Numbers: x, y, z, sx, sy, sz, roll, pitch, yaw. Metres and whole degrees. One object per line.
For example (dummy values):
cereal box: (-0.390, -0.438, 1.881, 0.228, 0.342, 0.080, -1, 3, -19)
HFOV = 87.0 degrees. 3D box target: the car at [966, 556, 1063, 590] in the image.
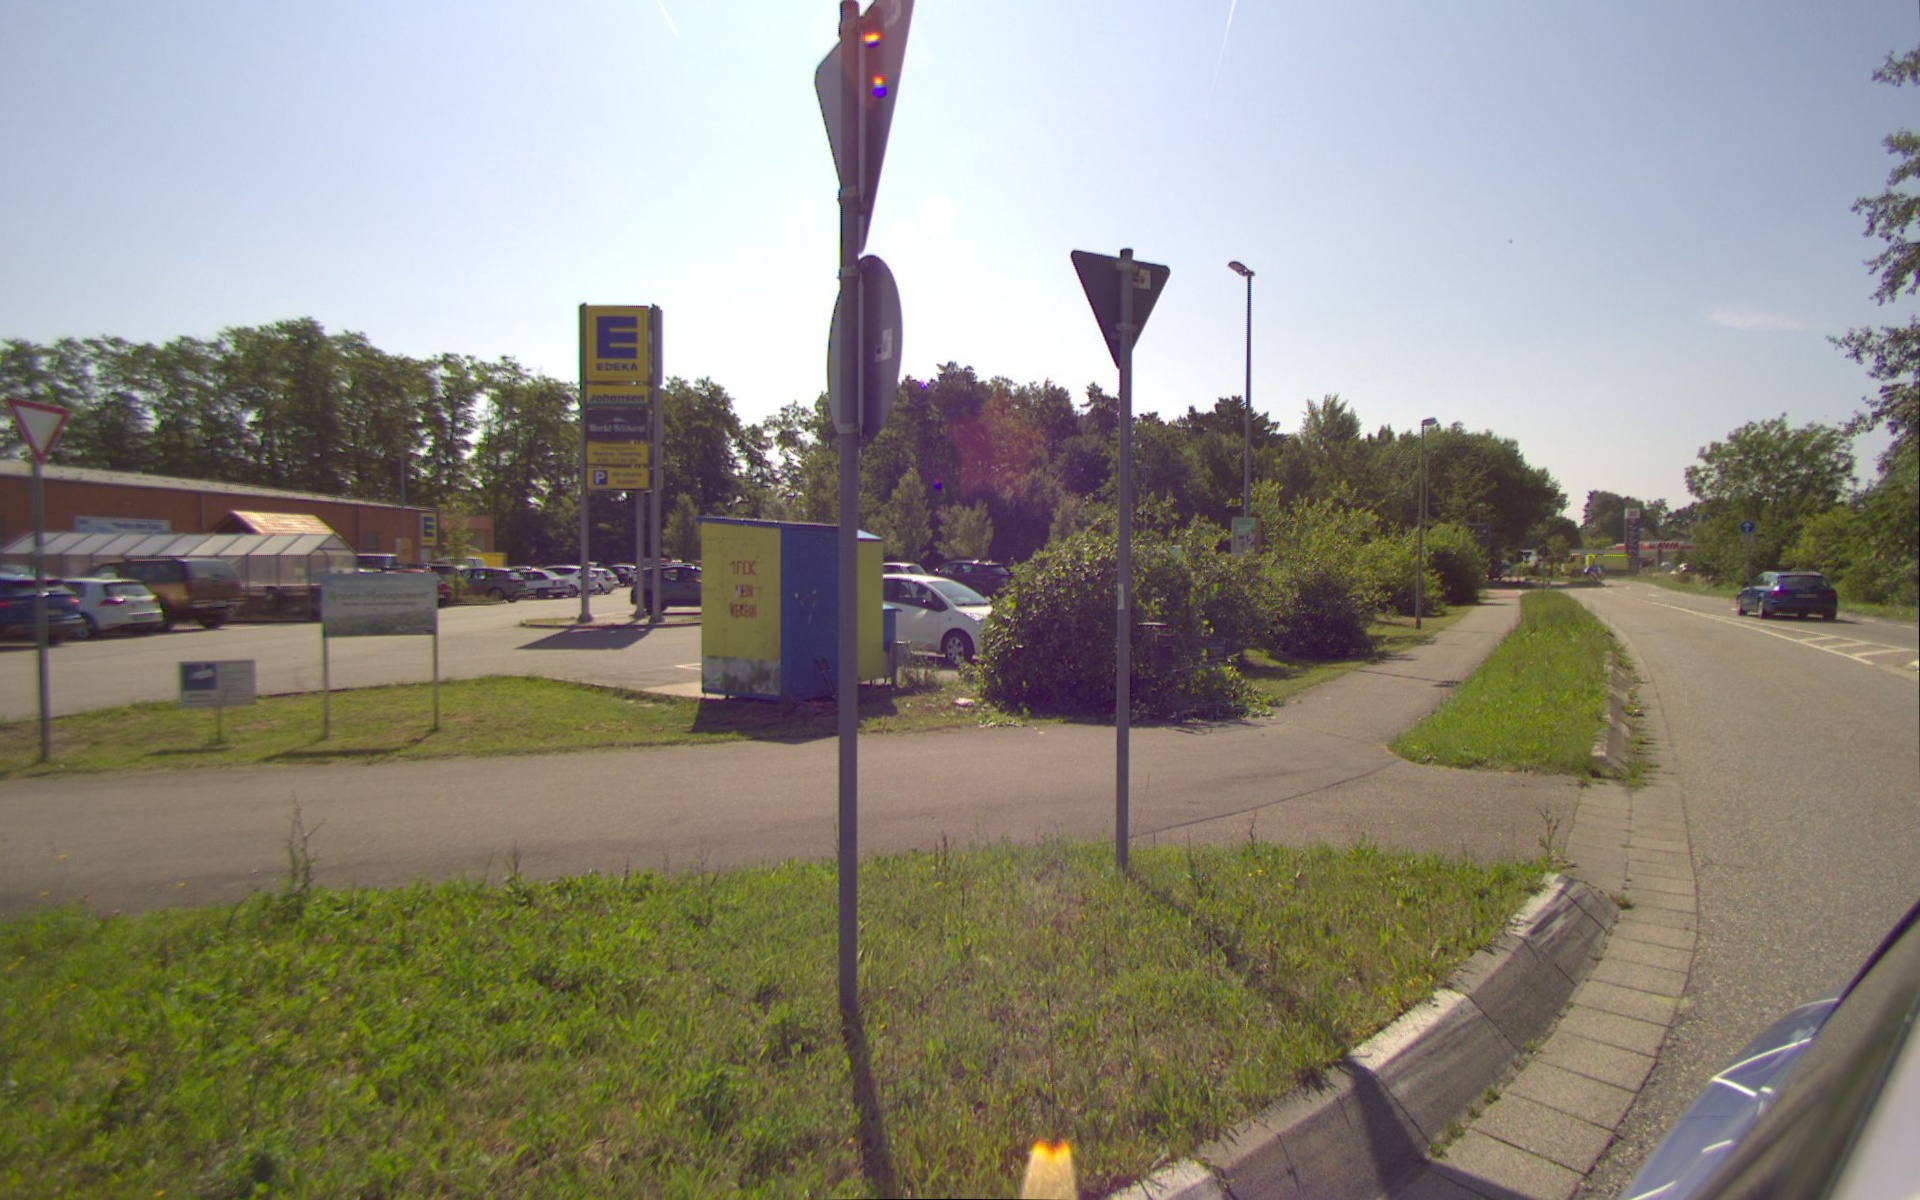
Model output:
car: (2.411, -1.204, 44.884, 3.955, 1.445, 1.736, 1, 2, 24)

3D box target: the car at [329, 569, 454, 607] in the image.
car: (-22.066, -0.484, 39.372, 3.927, 1.415, 1.714, 0, 1, 3)

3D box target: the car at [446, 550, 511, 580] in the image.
car: (-36.055, -2.609, 75.845, 3.955, 2.274, 1.997, 0, 1, 7)

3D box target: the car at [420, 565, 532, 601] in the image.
car: (-20.987, -0.739, 43.983, 3.926, 1.504, 1.968, 0, 1, 2)

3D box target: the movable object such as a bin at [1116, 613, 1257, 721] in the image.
movable object such as a bin: (2.679, 0.747, 11.960, 1.427, 1.134, 0.871, -1, 1, -32)

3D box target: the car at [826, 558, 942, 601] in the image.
car: (-2.773, -0.771, 36.642, 3.964, 1.460, 1.634, 1, 2, 29)

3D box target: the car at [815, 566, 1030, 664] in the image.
car: (-0.717, 0.199, 18.578, 3.580, 1.581, 1.793, 2, 2, 33)

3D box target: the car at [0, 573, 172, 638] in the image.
car: (-21.506, 0.104, 24.751, 3.437, 1.516, 1.711, 0, 1, 11)

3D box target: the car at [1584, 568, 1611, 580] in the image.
car: (72.293, -2.968, 114.785, 1.682, 1.406, 4.268, 1, 2, 19)

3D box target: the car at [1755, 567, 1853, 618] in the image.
car: (25.570, -0.272, 30.812, 1.827, 1.404, 4.370, 2, 2, 34)

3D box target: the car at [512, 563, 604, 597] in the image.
car: (-20.584, -1.041, 51.928, 3.934, 1.682, 1.995, 0, 1, 9)

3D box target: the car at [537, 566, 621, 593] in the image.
car: (-20.934, -1.136, 55.701, 3.933, 1.415, 1.887, 0, 2, 8)

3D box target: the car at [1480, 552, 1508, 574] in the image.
car: (69.778, -4.792, 132.303, 2.645, 2.846, 5.116, 0, 1, 21)

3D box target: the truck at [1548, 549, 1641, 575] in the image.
truck: (85.550, -5.194, 136.707, 10.244, 3.435, 3.848, 2, 2, 28)

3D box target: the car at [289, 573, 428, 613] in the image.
car: (-21.887, -0.273, 36.944, 3.925, 1.393, 2.000, 0, 1, 2)

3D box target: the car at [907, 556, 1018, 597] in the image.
car: (0.095, -0.945, 41.107, 4.127, 1.593, 1.981, 1, 2, 28)

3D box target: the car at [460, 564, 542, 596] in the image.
car: (-26.186, -1.153, 57.808, 3.928, 1.779, 1.804, 0, 2, 4)

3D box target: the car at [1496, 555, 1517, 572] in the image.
car: (79.528, -5.362, 147.287, 1.894, 2.430, 4.881, 0, 2, 19)

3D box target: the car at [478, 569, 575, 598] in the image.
car: (-21.202, -0.835, 49.523, 3.934, 1.371, 1.996, 1, 2, 9)

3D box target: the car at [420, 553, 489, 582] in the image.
car: (-35.845, -2.322, 71.824, 3.931, 2.039, 1.997, 0, 1, 7)

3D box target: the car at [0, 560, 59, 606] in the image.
car: (-37.154, -0.671, 38.513, 3.923, 1.705, 2.001, 0, 1, 0)

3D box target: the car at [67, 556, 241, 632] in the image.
car: (-21.643, -0.176, 27.238, 3.437, 1.953, 1.873, 0, 1, 11)

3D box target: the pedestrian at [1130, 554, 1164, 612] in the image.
pedestrian: (5.980, -0.545, 32.376, 0.815, 1.819, 0.857, 1, 2, 32)

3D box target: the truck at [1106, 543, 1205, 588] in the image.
truck: (11.960, -2.149, 61.927, 5.569, 2.637, 2.181, 2, 2, 30)

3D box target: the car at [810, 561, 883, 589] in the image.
car: (-6.686, -1.497, 59.601, 3.933, 1.604, 1.967, 0, 2, 8)

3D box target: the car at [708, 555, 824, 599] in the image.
car: (-8.280, -0.998, 43.477, 4.478, 1.723, 1.999, -2, 1, 4)

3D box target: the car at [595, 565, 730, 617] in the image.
car: (-9.494, -0.304, 32.527, 3.920, 1.608, 1.663, 0, 1, -5)

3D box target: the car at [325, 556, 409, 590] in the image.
car: (-35.388, -1.630, 60.474, 3.929, 2.038, 1.998, 0, 2, 5)

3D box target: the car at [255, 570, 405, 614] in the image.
car: (-21.308, -0.283, 34.320, 3.927, 1.438, 1.981, 0, 1, 4)

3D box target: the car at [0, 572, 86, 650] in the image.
car: (-21.524, 0.202, 21.743, 4.353, 1.591, 1.713, 0, 1, 8)
